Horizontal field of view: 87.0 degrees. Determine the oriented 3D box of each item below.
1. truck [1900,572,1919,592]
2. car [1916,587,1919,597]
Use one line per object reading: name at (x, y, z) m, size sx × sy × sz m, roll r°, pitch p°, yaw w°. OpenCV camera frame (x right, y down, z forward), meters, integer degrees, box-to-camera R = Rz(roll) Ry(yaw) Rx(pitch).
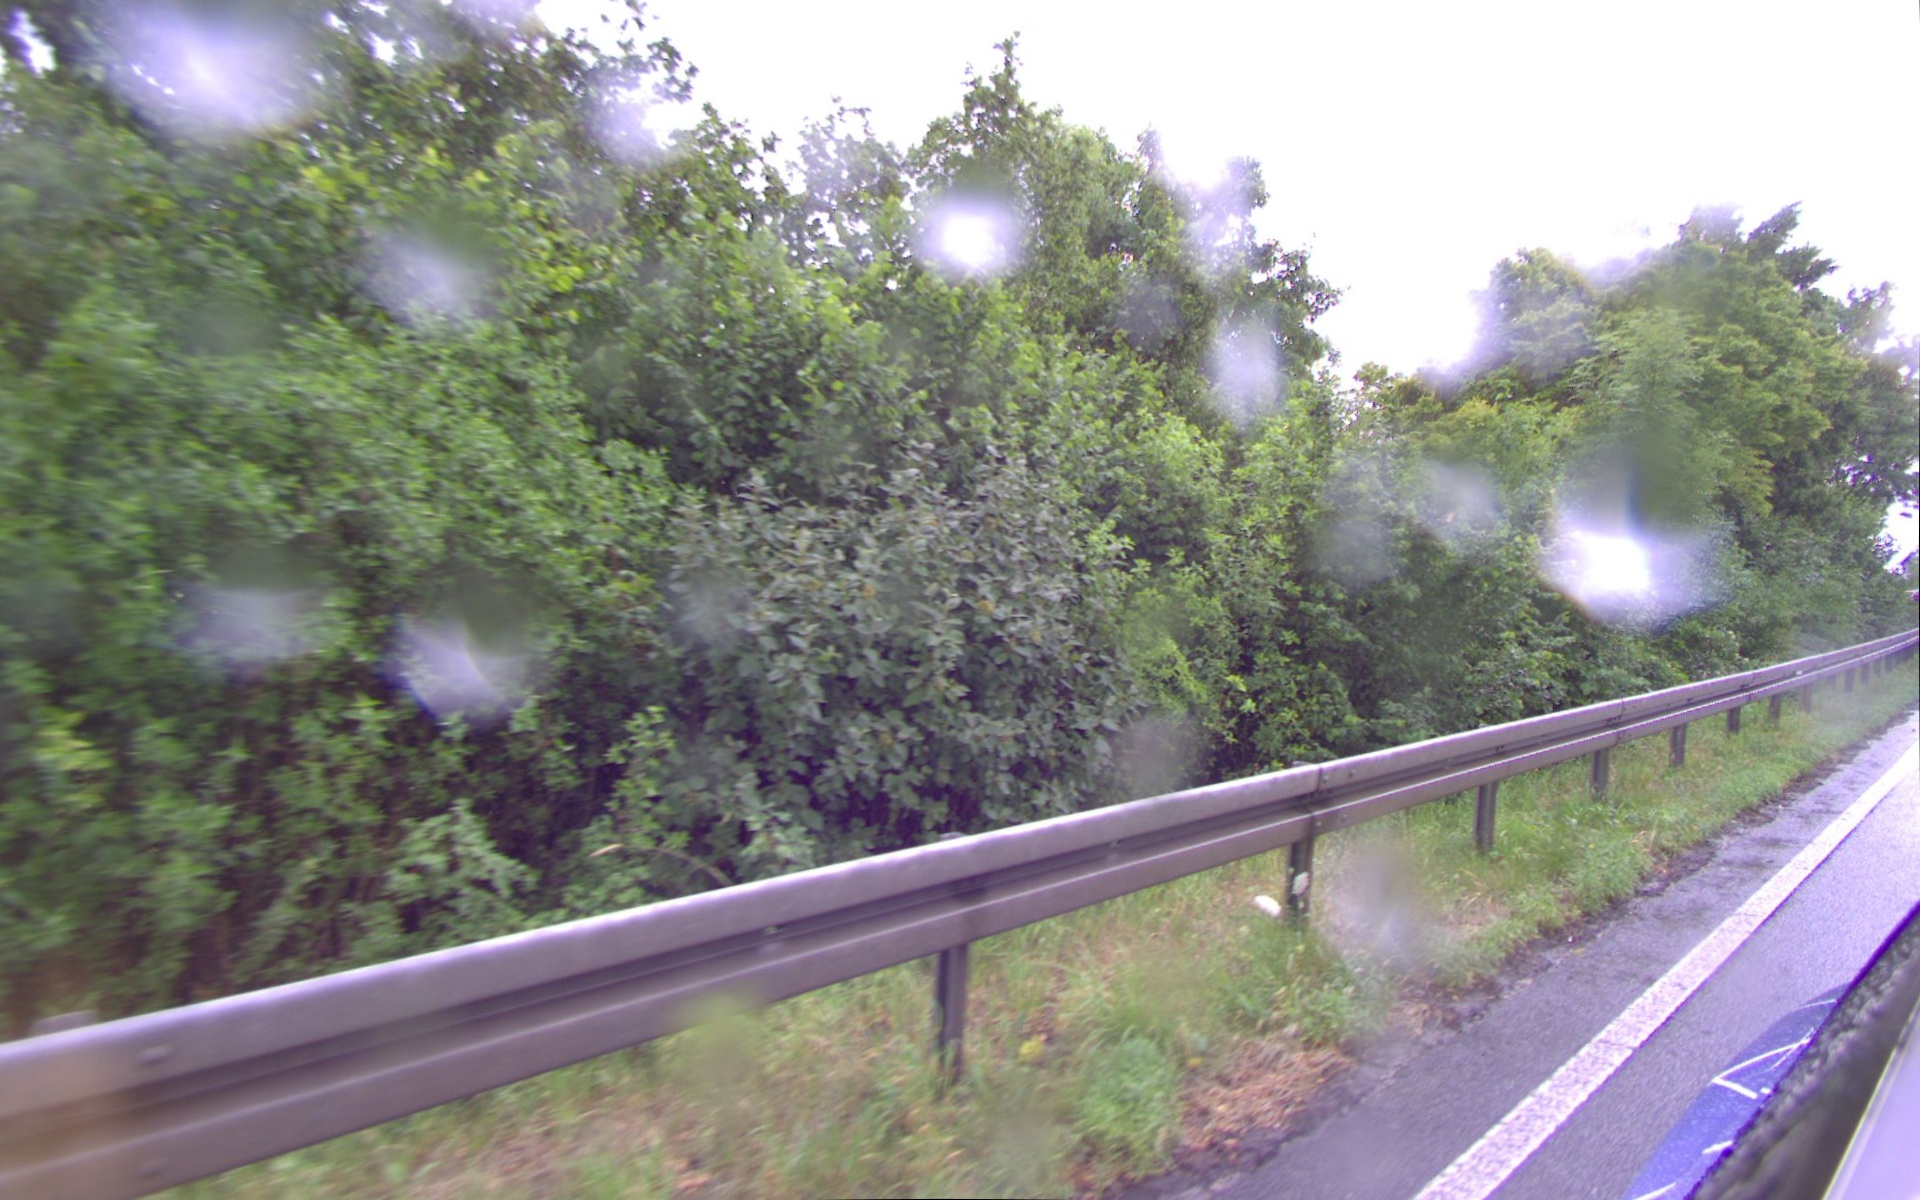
truck at (142.619, -2.668, 151.318) m, size 2.420 × 3.037 × 6.848 m, roll 0°, pitch 1°, yaw 38°
car at (131.453, -1.086, 137.908) m, size 1.528 × 1.486 × 3.030 m, roll 1°, pitch 1°, yaw 40°
